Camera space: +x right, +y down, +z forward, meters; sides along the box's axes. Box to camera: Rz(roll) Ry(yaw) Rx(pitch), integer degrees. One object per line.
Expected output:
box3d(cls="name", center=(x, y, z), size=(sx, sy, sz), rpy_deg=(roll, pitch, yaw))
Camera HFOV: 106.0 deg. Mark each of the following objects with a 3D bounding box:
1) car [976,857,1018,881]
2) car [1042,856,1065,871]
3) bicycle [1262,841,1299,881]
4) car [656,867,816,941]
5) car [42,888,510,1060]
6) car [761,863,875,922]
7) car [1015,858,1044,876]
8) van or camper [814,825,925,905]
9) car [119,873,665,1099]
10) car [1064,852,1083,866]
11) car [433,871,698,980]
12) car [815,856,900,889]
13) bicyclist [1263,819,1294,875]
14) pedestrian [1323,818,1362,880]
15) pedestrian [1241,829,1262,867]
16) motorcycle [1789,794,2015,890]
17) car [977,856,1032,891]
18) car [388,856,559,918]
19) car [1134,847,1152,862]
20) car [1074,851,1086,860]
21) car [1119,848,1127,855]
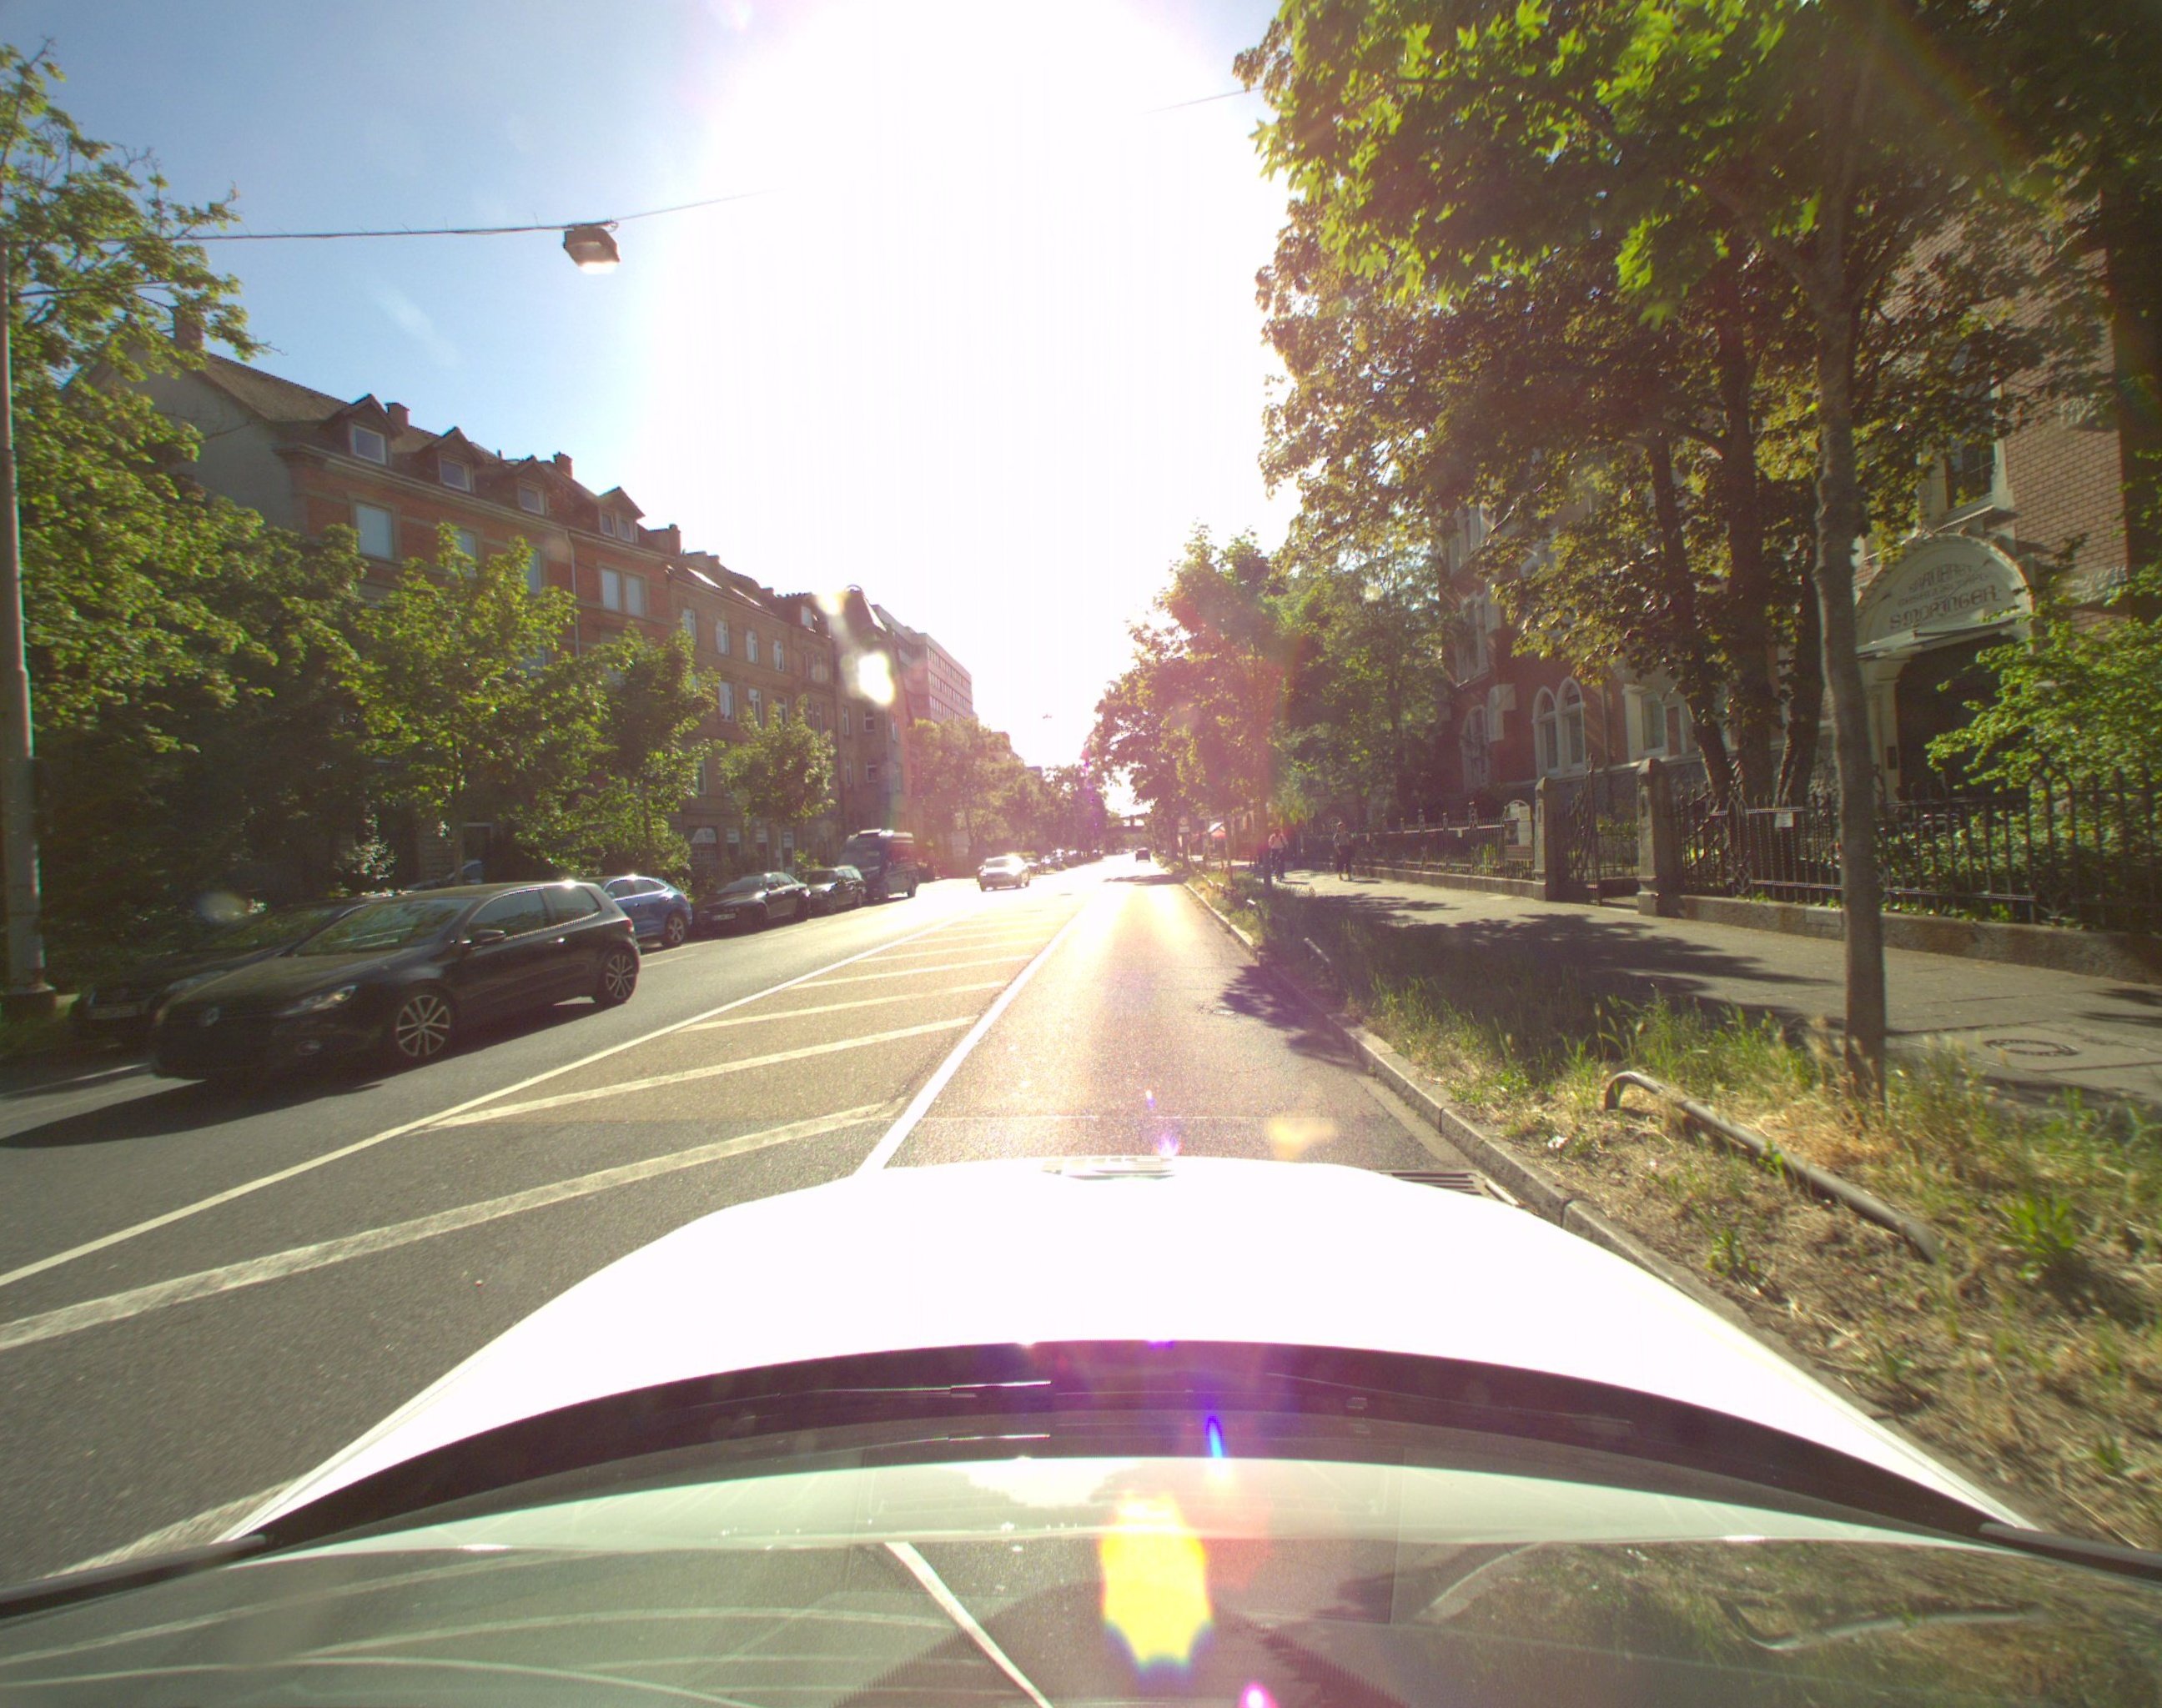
box3d(cls="car", center=(-5.374, 0.938, 52.772), size=(1.847, 1.427, 4.727), rpy_deg=(0, 0, 5))
box3d(cls="car", center=(-2.750, 0.961, 82.183), size=(1.679, 1.383, 4.199), rpy_deg=(-2, 0, 7))
box3d(cls="bicycle", center=(6.324, 0.213, 25.912), size=(0.614, 1.176, 1.919), rpy_deg=(-7, 0, 1))
box3d(cls="car", center=(-8.503, 1.167, 20.544), size=(1.772, 1.413, 4.410), rpy_deg=(-5, 0, 4))
box3d(cls="car", center=(-9.704, 1.311, 10.430), size=(1.584, 1.482, 4.273), rpy_deg=(-5, -1, 1))
box3d(cls="car", center=(-8.189, 1.150, 25.871), size=(1.686, 1.456, 4.669), rpy_deg=(-5, 0, 4))
box3d(cls="car", center=(-4.144, 1.048, 66.007), size=(1.670, 1.255, 4.020), rpy_deg=(-2, 0, 5))
box3d(cls="van or camper", center=(-8.132, 0.361, 32.050), size=(2.206, 2.739, 6.096), rpy_deg=(-3, 0, 4))
box3d(cls="car", center=(-6.136, 1.022, 8.049), size=(1.585, 1.450, 4.138), rpy_deg=(-4, 0, 4))
box3d(cls="car", center=(-0.822, 0.521, 94.045), size=(1.703, 1.458, 4.079), rpy_deg=(-2, 0, 6))
box3d(cls="car", center=(-9.422, 1.212, 15.463), size=(1.772, 1.538, 4.565), rpy_deg=(-3, 0, 5))
box3d(cls="car", center=(-12.166, 0.970, 44.362), size=(4.155, 1.670, 1.982), rpy_deg=(-1, 1, -29))
box3d(cls="bicyclist", center=(6.273, -0.227, 25.901), size=(0.618, 1.690, 0.820), rpy_deg=(-7, 0, 0))
box3d(cls="pedestrian", center=(7.424, -0.145, 23.164), size=(0.692, 1.658, 0.821), rpy_deg=(-6, -1, 3))
box3d(cls="pedestrian", center=(8.400, -0.321, 40.112), size=(0.741, 1.787, 0.815), rpy_deg=(-6, 0, 18))
box3d(cls="motorcycle", center=(10.468, -0.135, 10.465), size=(1.863, 1.031, 0.784), rpy_deg=(-5, -1, 12))
box3d(cls="car", center=(-3.337, 0.823, 36.157), size=(1.911, 1.419, 4.226), rpy_deg=(-1, 0, 1))
box3d(cls="car", center=(-21.593, 1.116, 29.154), size=(1.841, 1.914, 4.479), rpy_deg=(-5, -2, 28))
box3d(cls="car", center=(7.207, 0.065, 95.388), size=(1.976, 1.600, 4.144), rpy_deg=(-3, 0, 3))
box3d(cls="car", center=(-0.131, 0.268, 150.197), size=(1.847, 1.568, 3.877), rpy_deg=(-2, 0, 5))
box3d(cls="car", center=(11.558, -0.657, 224.102), size=(1.848, 1.825, 4.614), rpy_deg=(-5, 0, 3))
